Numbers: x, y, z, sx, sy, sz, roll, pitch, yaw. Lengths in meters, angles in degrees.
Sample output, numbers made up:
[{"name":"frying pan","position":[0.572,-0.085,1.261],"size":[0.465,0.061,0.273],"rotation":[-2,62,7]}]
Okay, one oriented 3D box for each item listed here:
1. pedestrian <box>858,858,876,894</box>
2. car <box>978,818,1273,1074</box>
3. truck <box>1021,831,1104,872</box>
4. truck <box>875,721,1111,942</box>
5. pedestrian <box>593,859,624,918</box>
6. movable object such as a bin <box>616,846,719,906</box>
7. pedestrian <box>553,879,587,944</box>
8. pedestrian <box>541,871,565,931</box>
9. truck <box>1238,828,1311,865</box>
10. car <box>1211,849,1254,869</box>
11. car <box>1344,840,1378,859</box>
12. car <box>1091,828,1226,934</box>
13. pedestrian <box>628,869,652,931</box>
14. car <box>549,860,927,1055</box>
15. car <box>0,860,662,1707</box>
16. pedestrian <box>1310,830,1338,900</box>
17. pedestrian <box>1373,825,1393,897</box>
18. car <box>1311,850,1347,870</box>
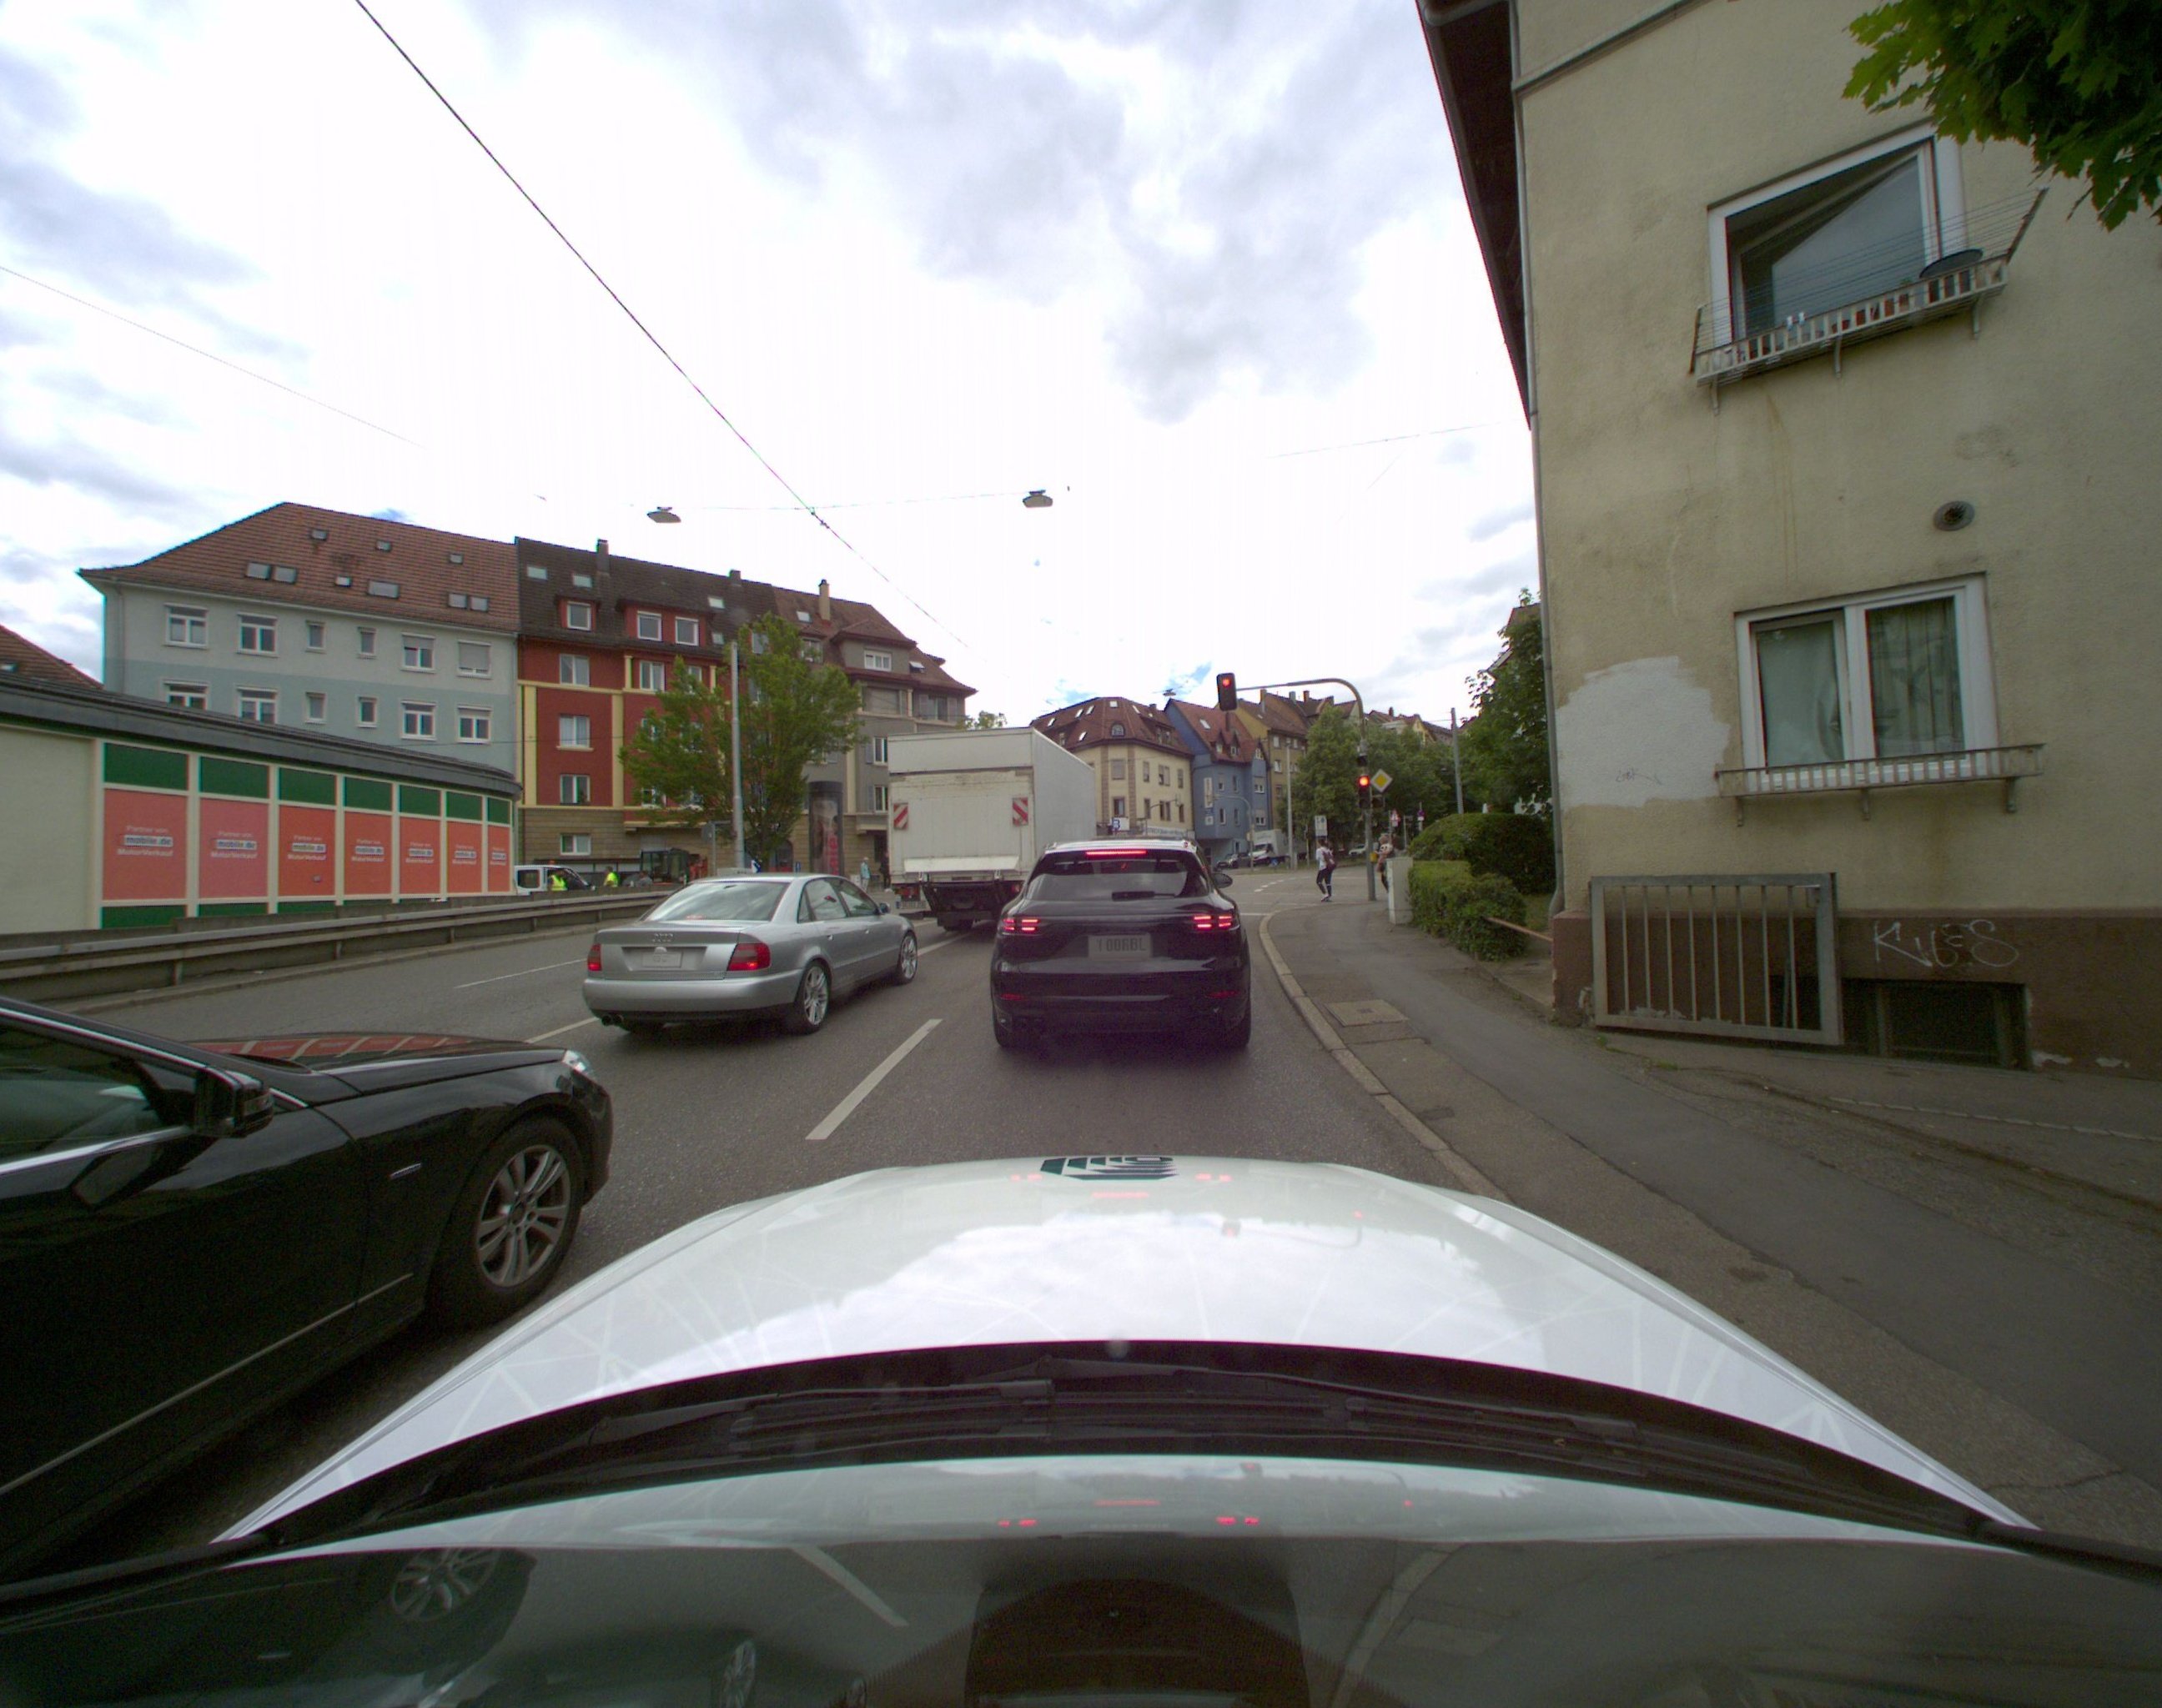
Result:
[{"name":"pedestrian","position":[-9.288,0.952,35.338],"size":[0.587,1.567,0.486],"rotation":[1,-1,1]},{"name":"car","position":[0.276,0.602,7.530],"size":[1.973,1.684,3.998],"rotation":[-1,0,-1]},{"name":"truck","position":[-1.420,-0.115,58.386],"size":[2.519,2.804,6.642],"rotation":[1,-1,-38]},{"name":"truck","position":[-1.331,-0.387,17.342],"size":[2.751,3.575,8.088],"rotation":[-1,0,10]},{"name":"pedestrian","position":[-14.174,1.027,24.431],"size":[0.570,1.761,0.616],"rotation":[1,-1,-7]},{"name":"movable object such as a bin","position":[-13.196,0.678,26.236],"size":[1.903,1.771,3.984],"rotation":[1,0,-11]},{"name":"pedestrian","position":[-13.700,1.537,21.853],"size":[0.562,1.700,0.541],"rotation":[1,-1,-10]},{"name":"pedestrian","position":[-15.591,1.384,24.061],"size":[0.479,1.730,0.536],"rotation":[1,-1,-44]},{"name":"truck","position":[18.673,-0.680,78.186],"size":[2.846,3.340,8.846],"rotation":[0,0,43]},{"name":"car","position":[13.403,0.428,71.743],"size":[1.974,1.684,4.025],"rotation":[-2,-1,40]},{"name":"car","position":[31.209,-0.466,90.685],"size":[1.975,2.014,4.023],"rotation":[0,-1,45]},{"name":"car","position":[1.589,0.451,15.165],"size":[1.980,1.684,4.014],"rotation":[-1,0,12]},{"name":"pedestrian","position":[-12.587,1.303,23.232],"size":[0.545,1.730,0.587],"rotation":[1,-1,-33]},{"name":"car","position":[-3.010,0.802,8.252],"size":[1.688,1.373,4.184],"rotation":[-1,1,6]},{"name":"car","position":[-2.739,0.756,1.253],"size":[1.741,1.454,4.448],"rotation":[-1,0,2]},{"name":"pedestrian","position":[6.458,0.297,21.628],"size":[0.587,1.819,0.529],"rotation":[1,-1,2]},{"name":"pedestrian","position":[7.854,0.175,21.166],"size":[0.459,1.837,0.325],"rotation":[0,-1,16]},{"name":"car","position":[26.114,0.658,85.761],"size":[1.975,2.014,4.023],"rotation":[0,-1,45]}]
